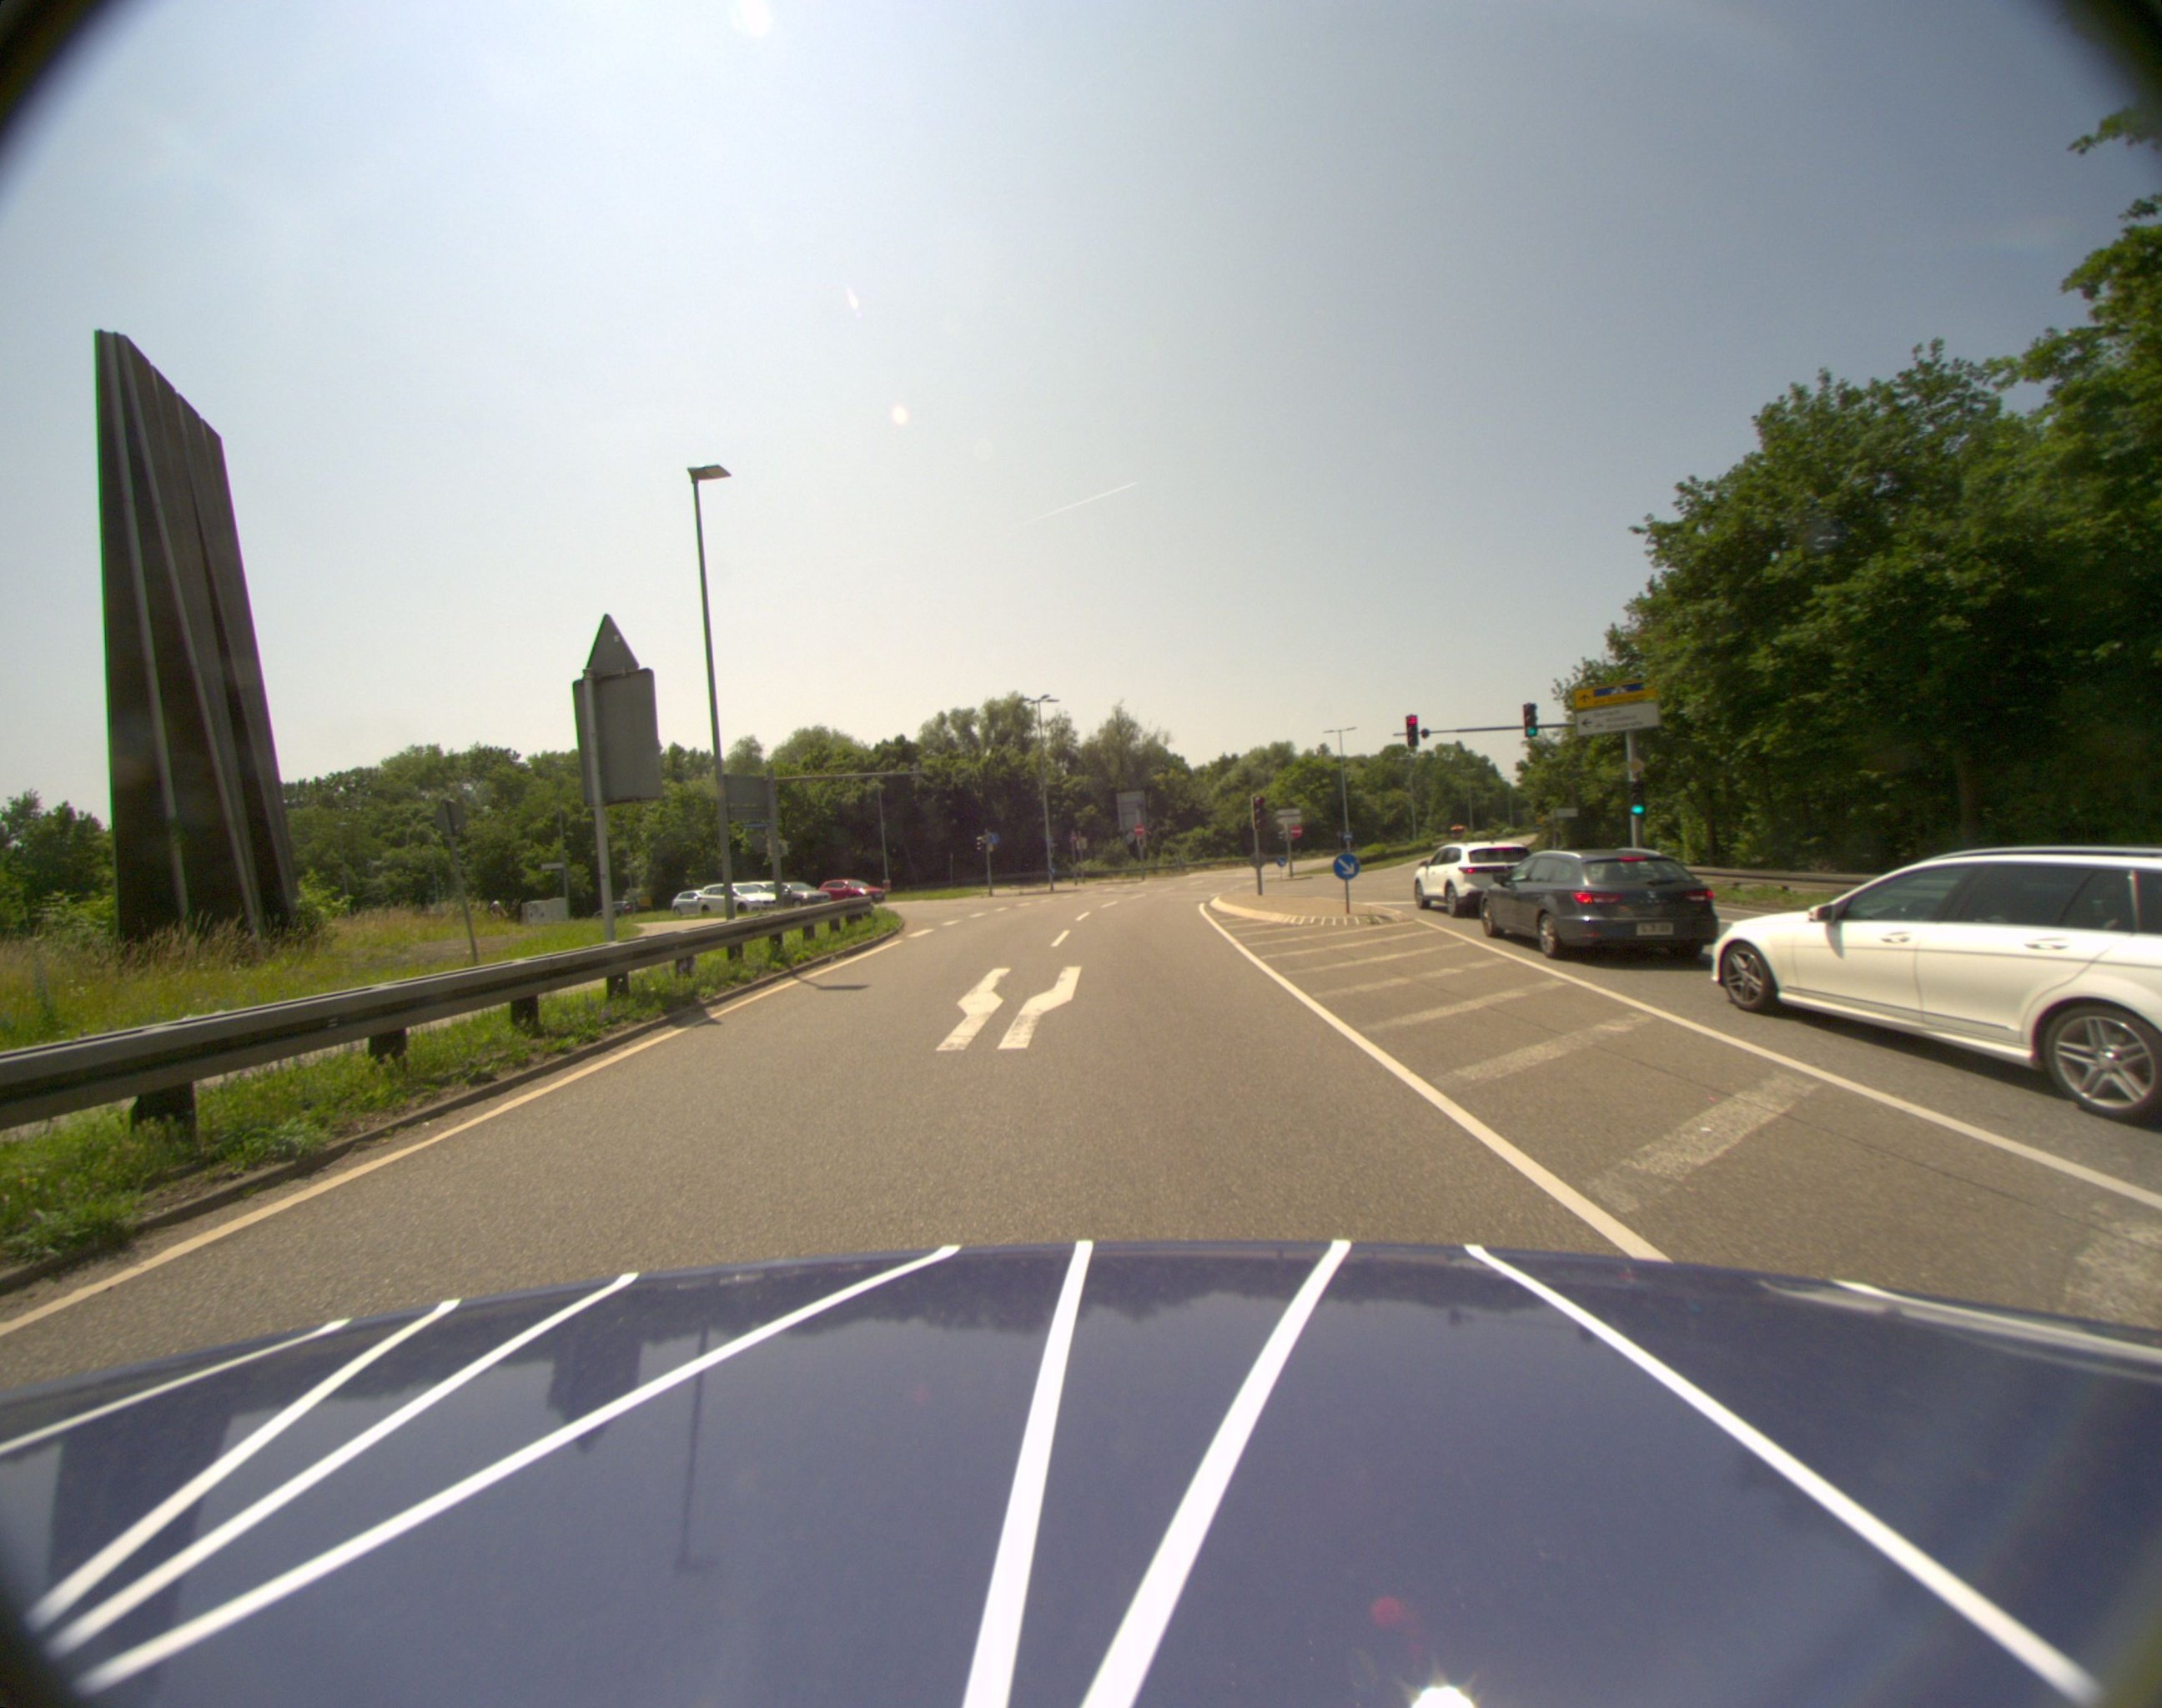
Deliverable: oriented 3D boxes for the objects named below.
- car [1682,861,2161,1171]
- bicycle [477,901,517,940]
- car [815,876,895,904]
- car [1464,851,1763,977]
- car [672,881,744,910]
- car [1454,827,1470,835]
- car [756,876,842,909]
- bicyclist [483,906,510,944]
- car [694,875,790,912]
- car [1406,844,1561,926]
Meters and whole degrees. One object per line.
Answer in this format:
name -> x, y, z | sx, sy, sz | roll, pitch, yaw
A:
car -> 6.339, 0.793, 4.919 | 1.831, 1.398, 4.892 | -1, 0, 12
bicycle -> -25.146, 2.851, 32.688 | 2.368, 1.565, 0.658 | -3, 0, 36
car -> -12.327, 1.979, 41.392 | 4.176, 1.346, 1.758 | -3, 0, 32
car -> 7.201, 0.695, 10.946 | 1.831, 1.398, 4.550 | -2, 0, 12
car -> -20.618, 2.321, 41.972 | 3.990, 1.422, 1.585 | -3, 0, 31
car -> 71.549, -4.334, 142.663 | 1.842, 1.422, 3.585 | -3, 0, 40
car -> -14.333, 1.961, 38.571 | 4.176, 1.415, 1.871 | -3, 0, 32
bicyclist -> -25.206, 3.057, 32.761 | 0.690, 1.589, 0.672 | -3, 0, 36
car -> -15.610, 1.810, 34.956 | 4.286, 1.497, 1.871 | -3, 0, 32
car -> 9.178, 0.622, 17.796 | 1.831, 1.629, 4.582 | -2, 0, 10
